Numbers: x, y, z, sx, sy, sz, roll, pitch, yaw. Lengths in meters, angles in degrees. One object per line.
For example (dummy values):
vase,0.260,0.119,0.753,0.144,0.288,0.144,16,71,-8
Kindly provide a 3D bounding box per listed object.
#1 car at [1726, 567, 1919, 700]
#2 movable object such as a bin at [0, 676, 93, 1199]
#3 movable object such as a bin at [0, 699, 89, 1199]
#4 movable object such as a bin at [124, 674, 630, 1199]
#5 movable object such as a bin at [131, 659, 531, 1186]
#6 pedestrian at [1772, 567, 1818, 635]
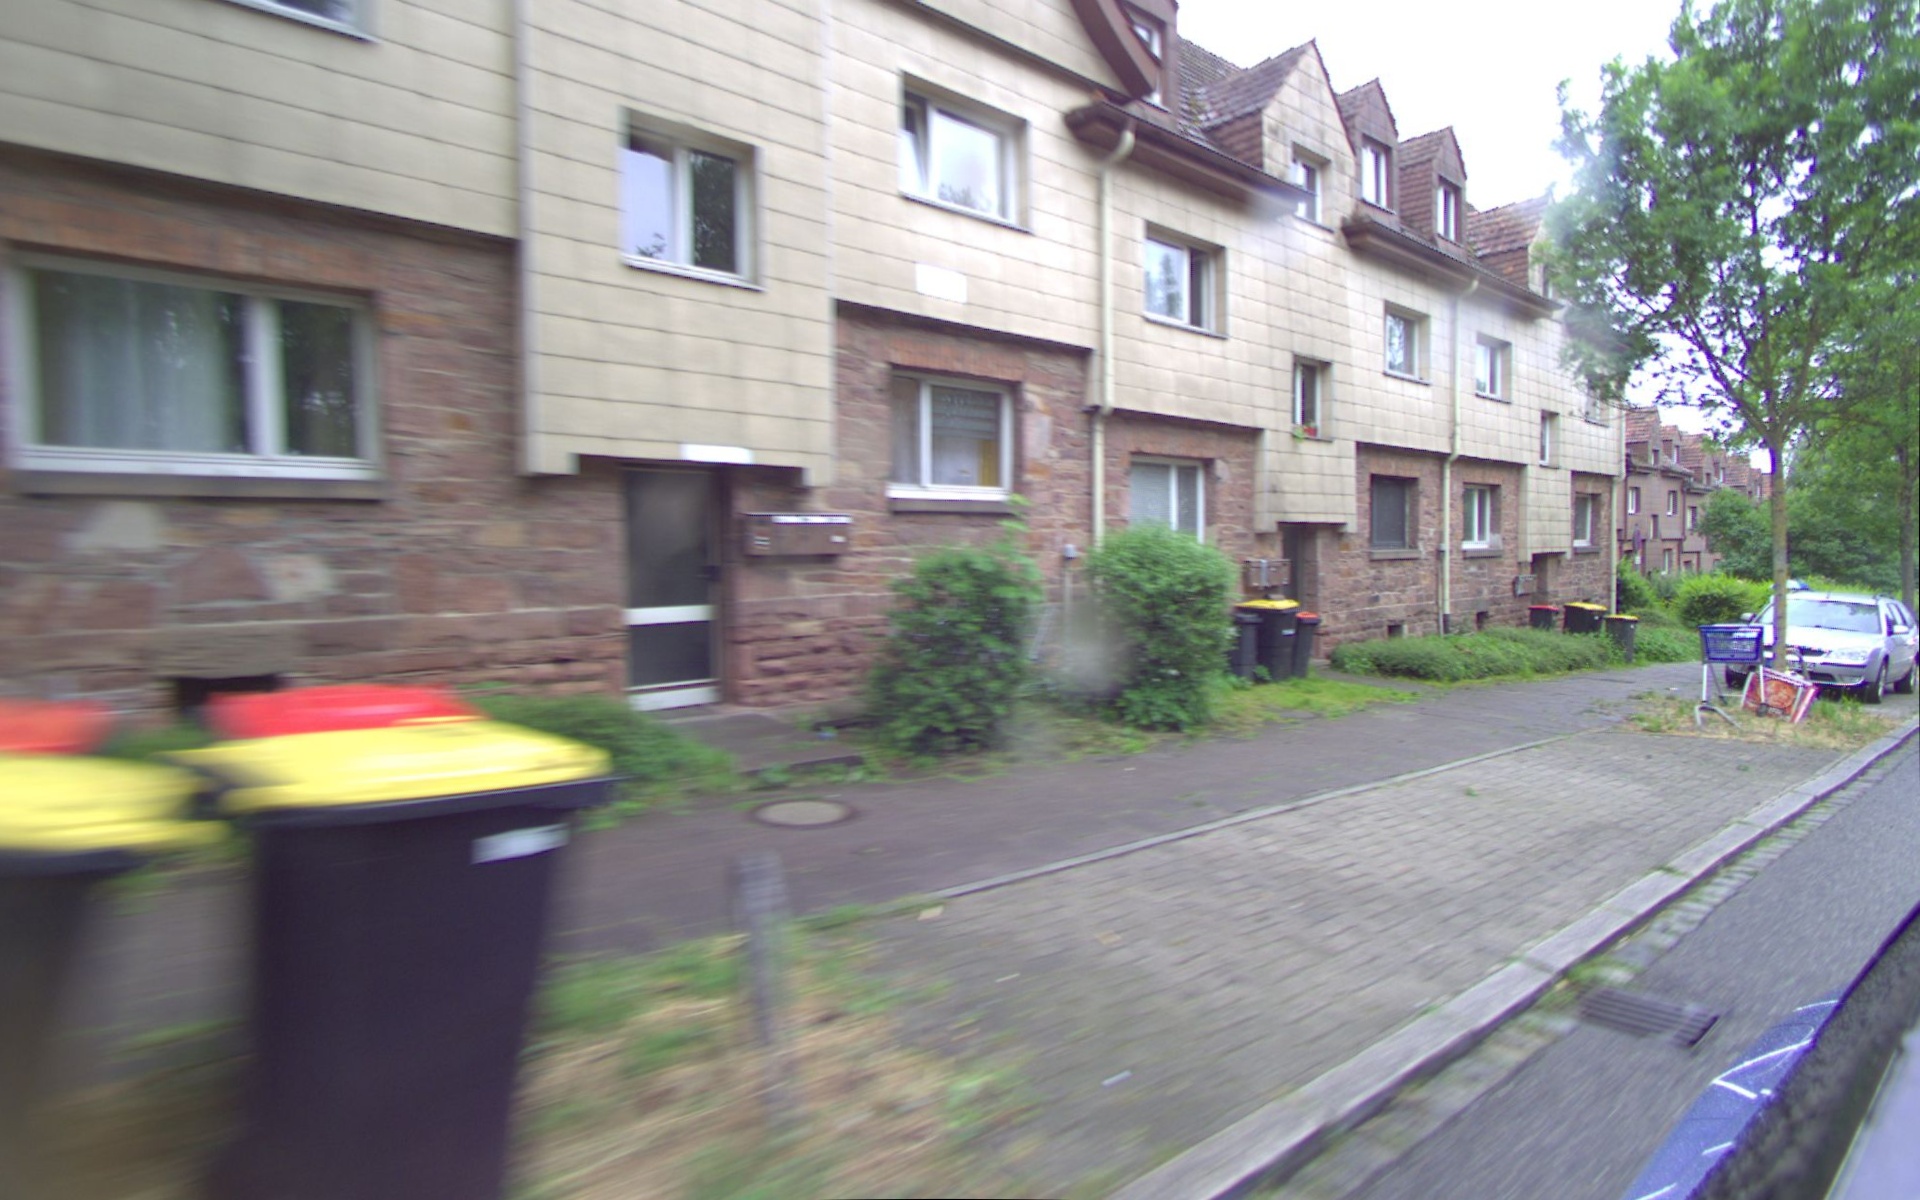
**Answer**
car,13.167,0.419,15.084,4.560,1.603,1.707,0,5,-40
movable object such as a bin,-2.299,0.746,2.044,0.809,1.063,0.620,0,4,-43
movable object such as a bin,-1.821,0.750,1.480,0.809,1.063,0.620,0,4,-43
movable object such as a bin,-1.235,0.749,2.156,0.809,1.063,0.620,0,4,-43
movable object such as a bin,-1.691,0.745,2.731,0.809,1.063,0.620,0,4,-43
pedestrian,21.430,0.008,25.979,0.641,1.700,0.710,1,2,-35
